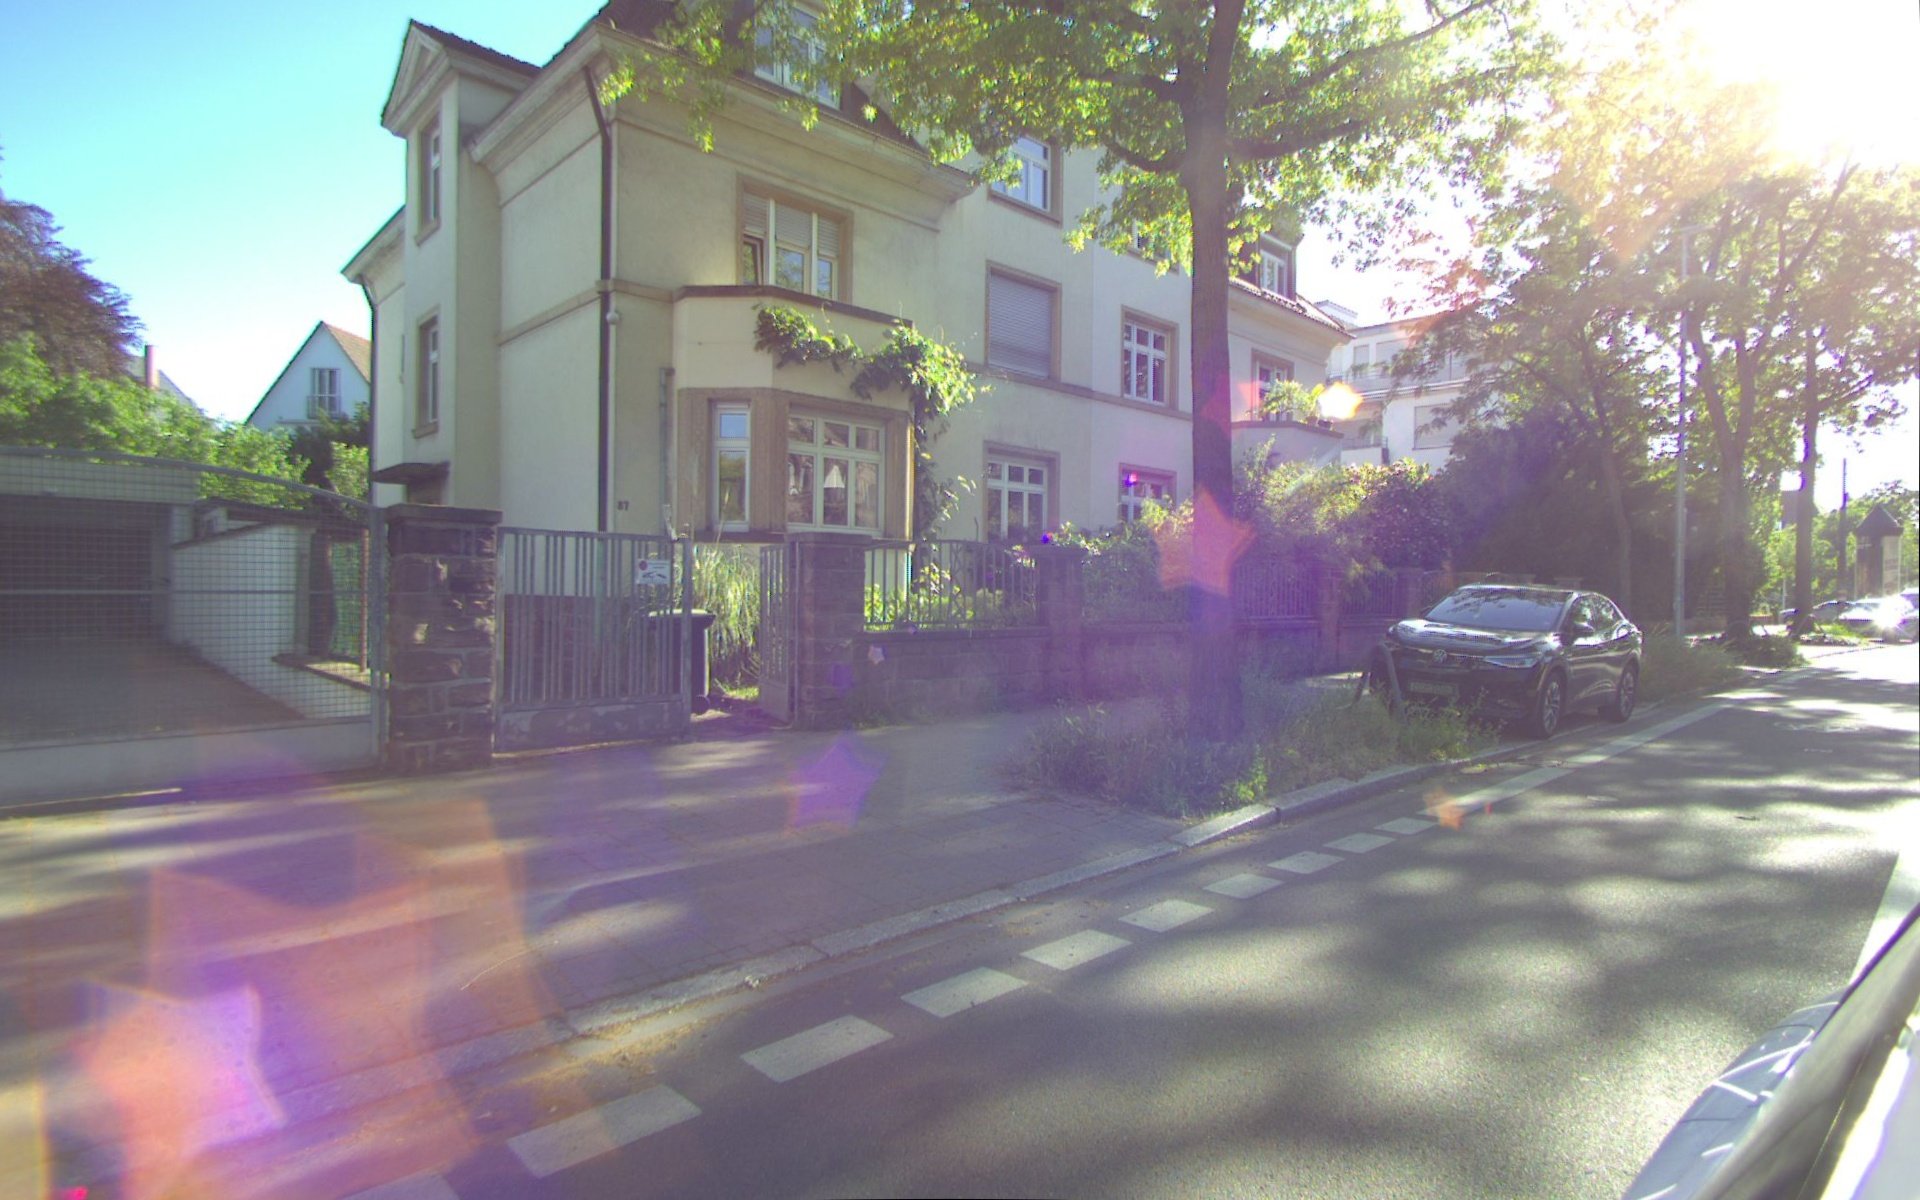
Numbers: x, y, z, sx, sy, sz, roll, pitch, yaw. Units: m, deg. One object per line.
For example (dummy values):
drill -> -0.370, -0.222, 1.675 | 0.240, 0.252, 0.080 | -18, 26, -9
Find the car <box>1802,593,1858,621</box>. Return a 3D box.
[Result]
car -> 46.912, 0.345, 54.558 | 3.930, 1.460, 1.739 | -1, 0, -41

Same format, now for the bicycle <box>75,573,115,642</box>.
bicycle -> -14.857, 0.124, 17.379 | 0.512, 1.136, 1.464 | 0, 0, -41

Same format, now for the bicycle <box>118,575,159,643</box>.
bicycle -> -14.373, 0.140, 17.700 | 0.512, 1.136, 1.464 | 0, 0, -41

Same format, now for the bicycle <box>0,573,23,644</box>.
bicycle -> -15.780, 0.136, 16.628 | 0.512, 1.136, 1.464 | 0, 0, -41

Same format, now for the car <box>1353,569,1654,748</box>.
car -> 6.625, 0.551, 12.148 | 4.101, 1.765, 1.995 | -1, 0, -43

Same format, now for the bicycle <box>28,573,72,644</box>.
bicycle -> -15.282, 0.130, 17.010 | 0.512, 1.136, 1.464 | 0, 0, -41

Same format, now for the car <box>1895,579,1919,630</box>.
car -> 36.655, 0.157, 37.803 | 4.171, 1.852, 1.904 | -1, 0, -38

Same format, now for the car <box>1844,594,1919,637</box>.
car -> 31.469, 0.479, 34.233 | 3.847, 1.356, 1.719 | -1, 0, -39

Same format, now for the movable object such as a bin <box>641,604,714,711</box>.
movable object such as a bin -> -3.022, 0.582, 10.808 | 0.712, 1.068, 0.969 | 0, 0, -17
